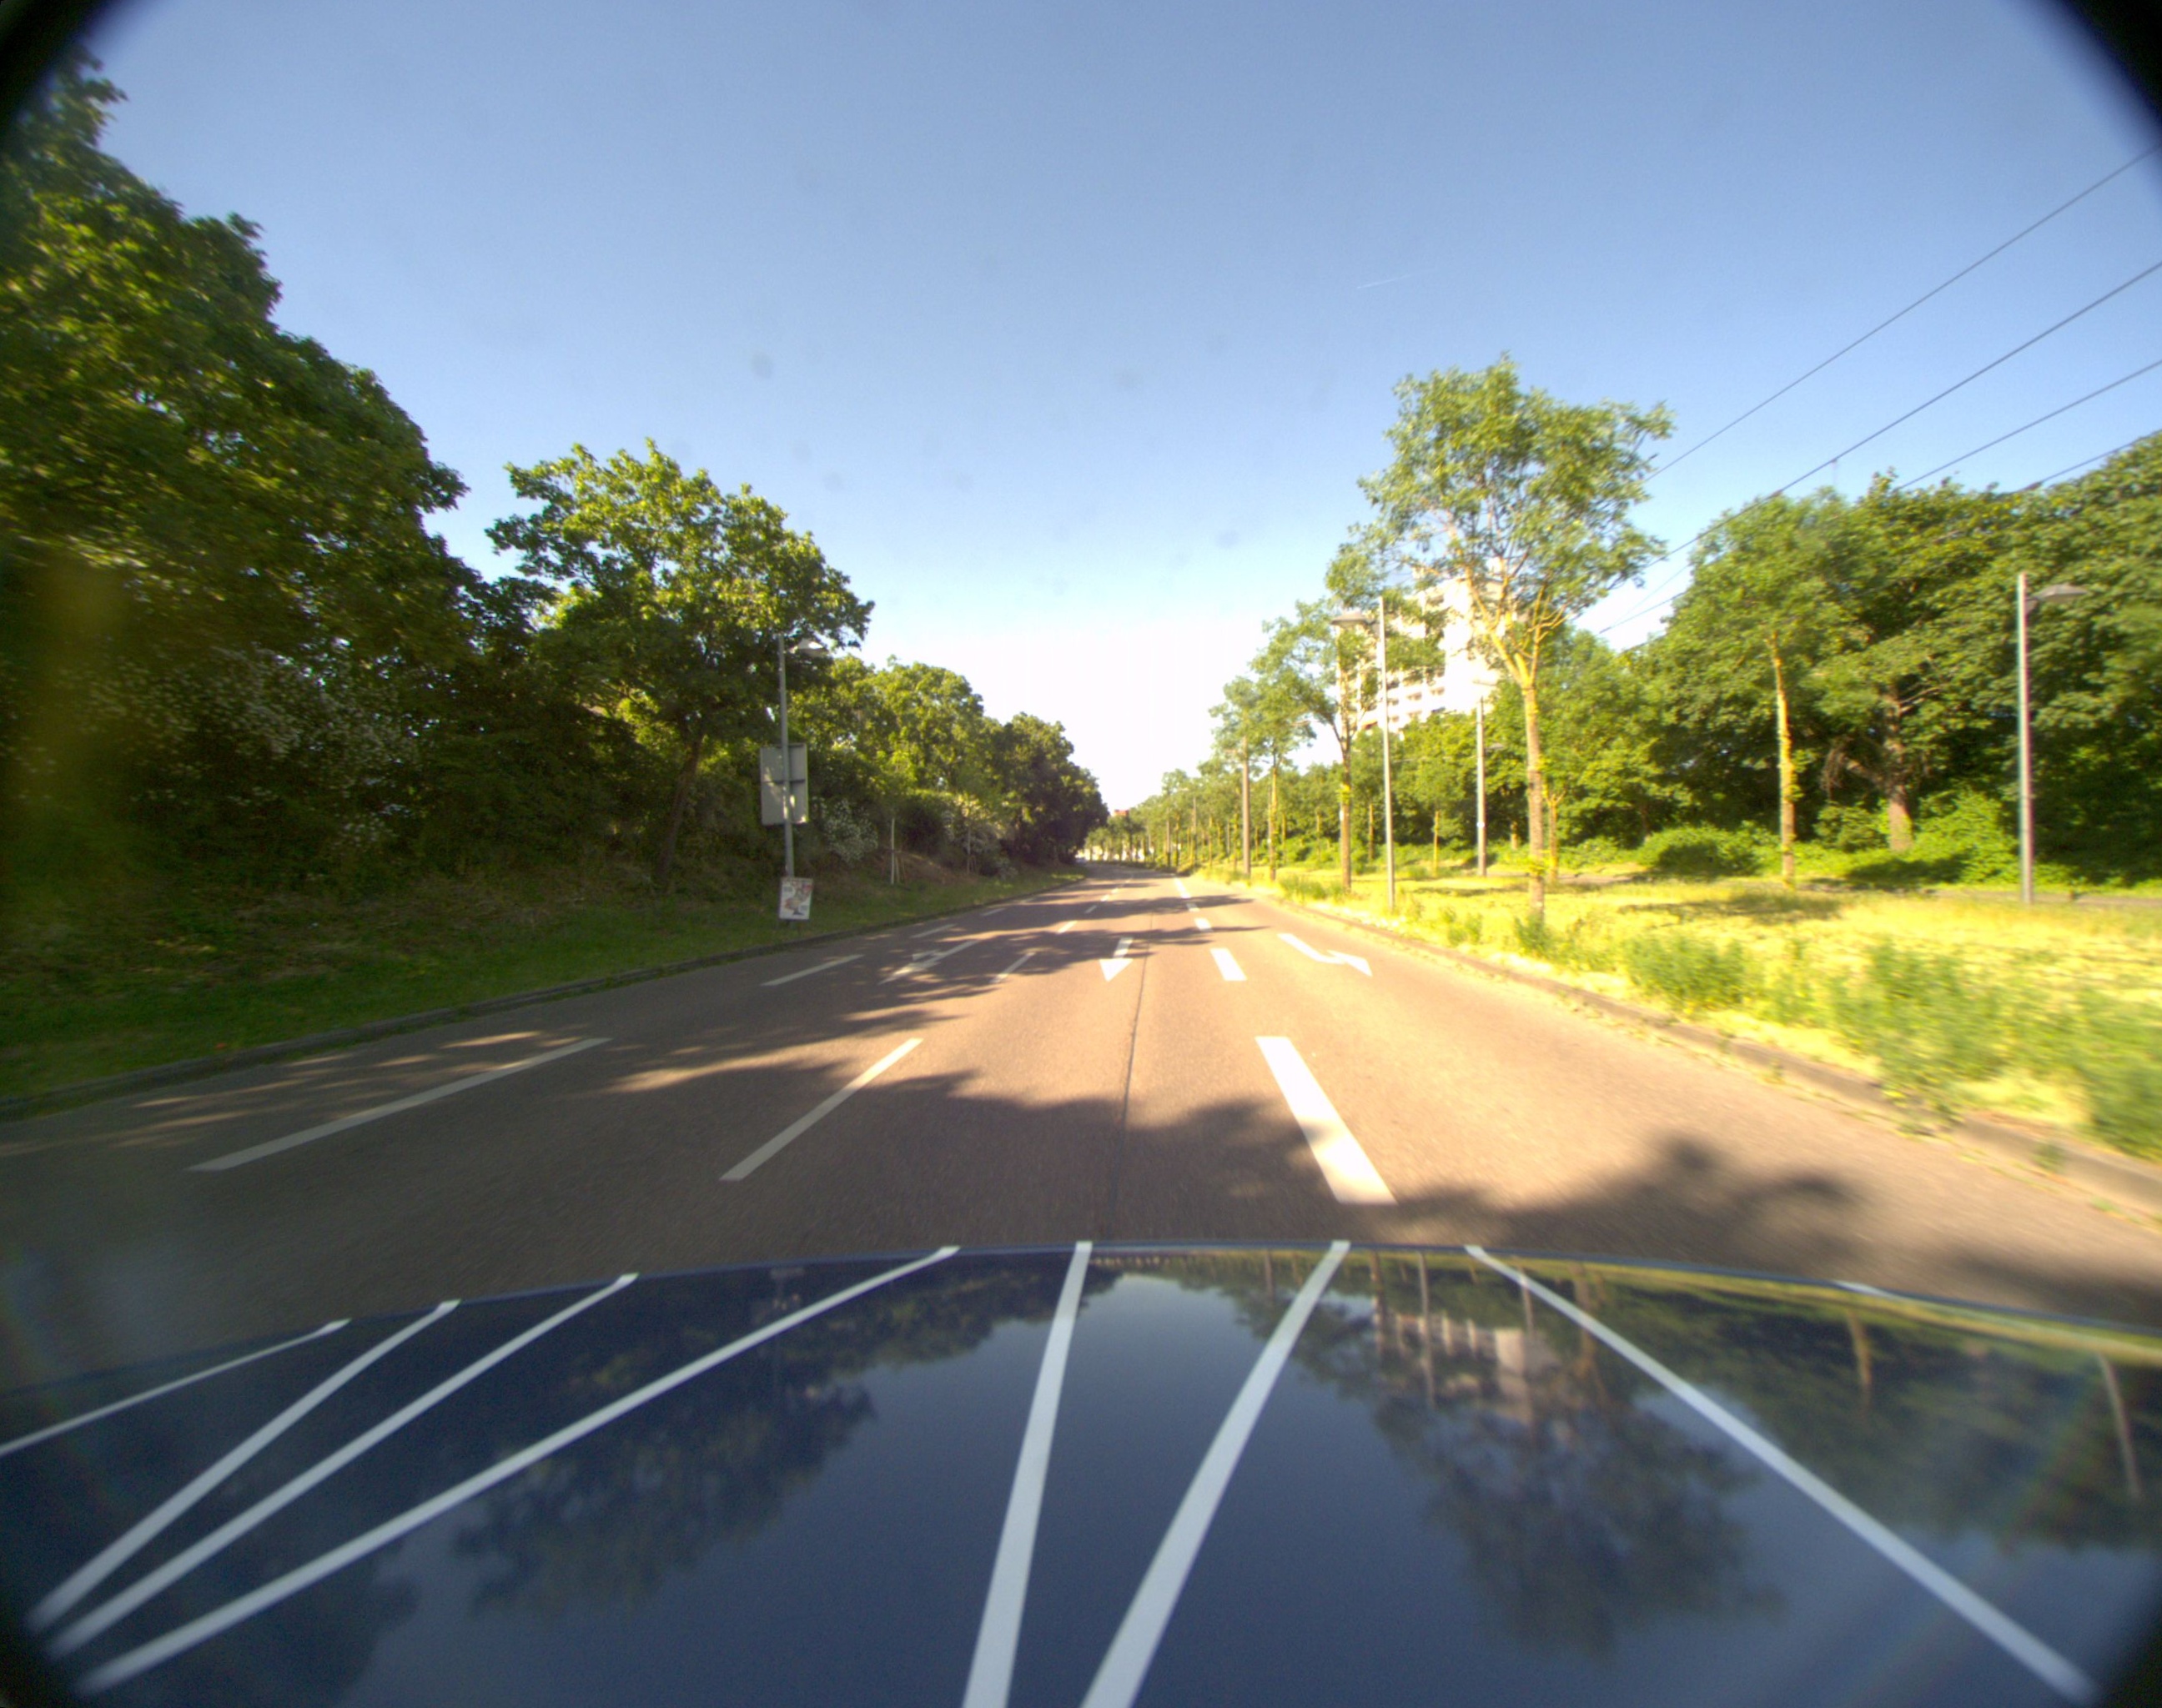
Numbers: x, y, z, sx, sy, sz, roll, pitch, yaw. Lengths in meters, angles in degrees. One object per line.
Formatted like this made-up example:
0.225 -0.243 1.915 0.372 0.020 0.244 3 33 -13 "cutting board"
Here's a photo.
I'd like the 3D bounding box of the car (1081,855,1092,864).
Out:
1.057 1.004 141.291 1.672 1.531 4.062 -4 0 6 "car"
